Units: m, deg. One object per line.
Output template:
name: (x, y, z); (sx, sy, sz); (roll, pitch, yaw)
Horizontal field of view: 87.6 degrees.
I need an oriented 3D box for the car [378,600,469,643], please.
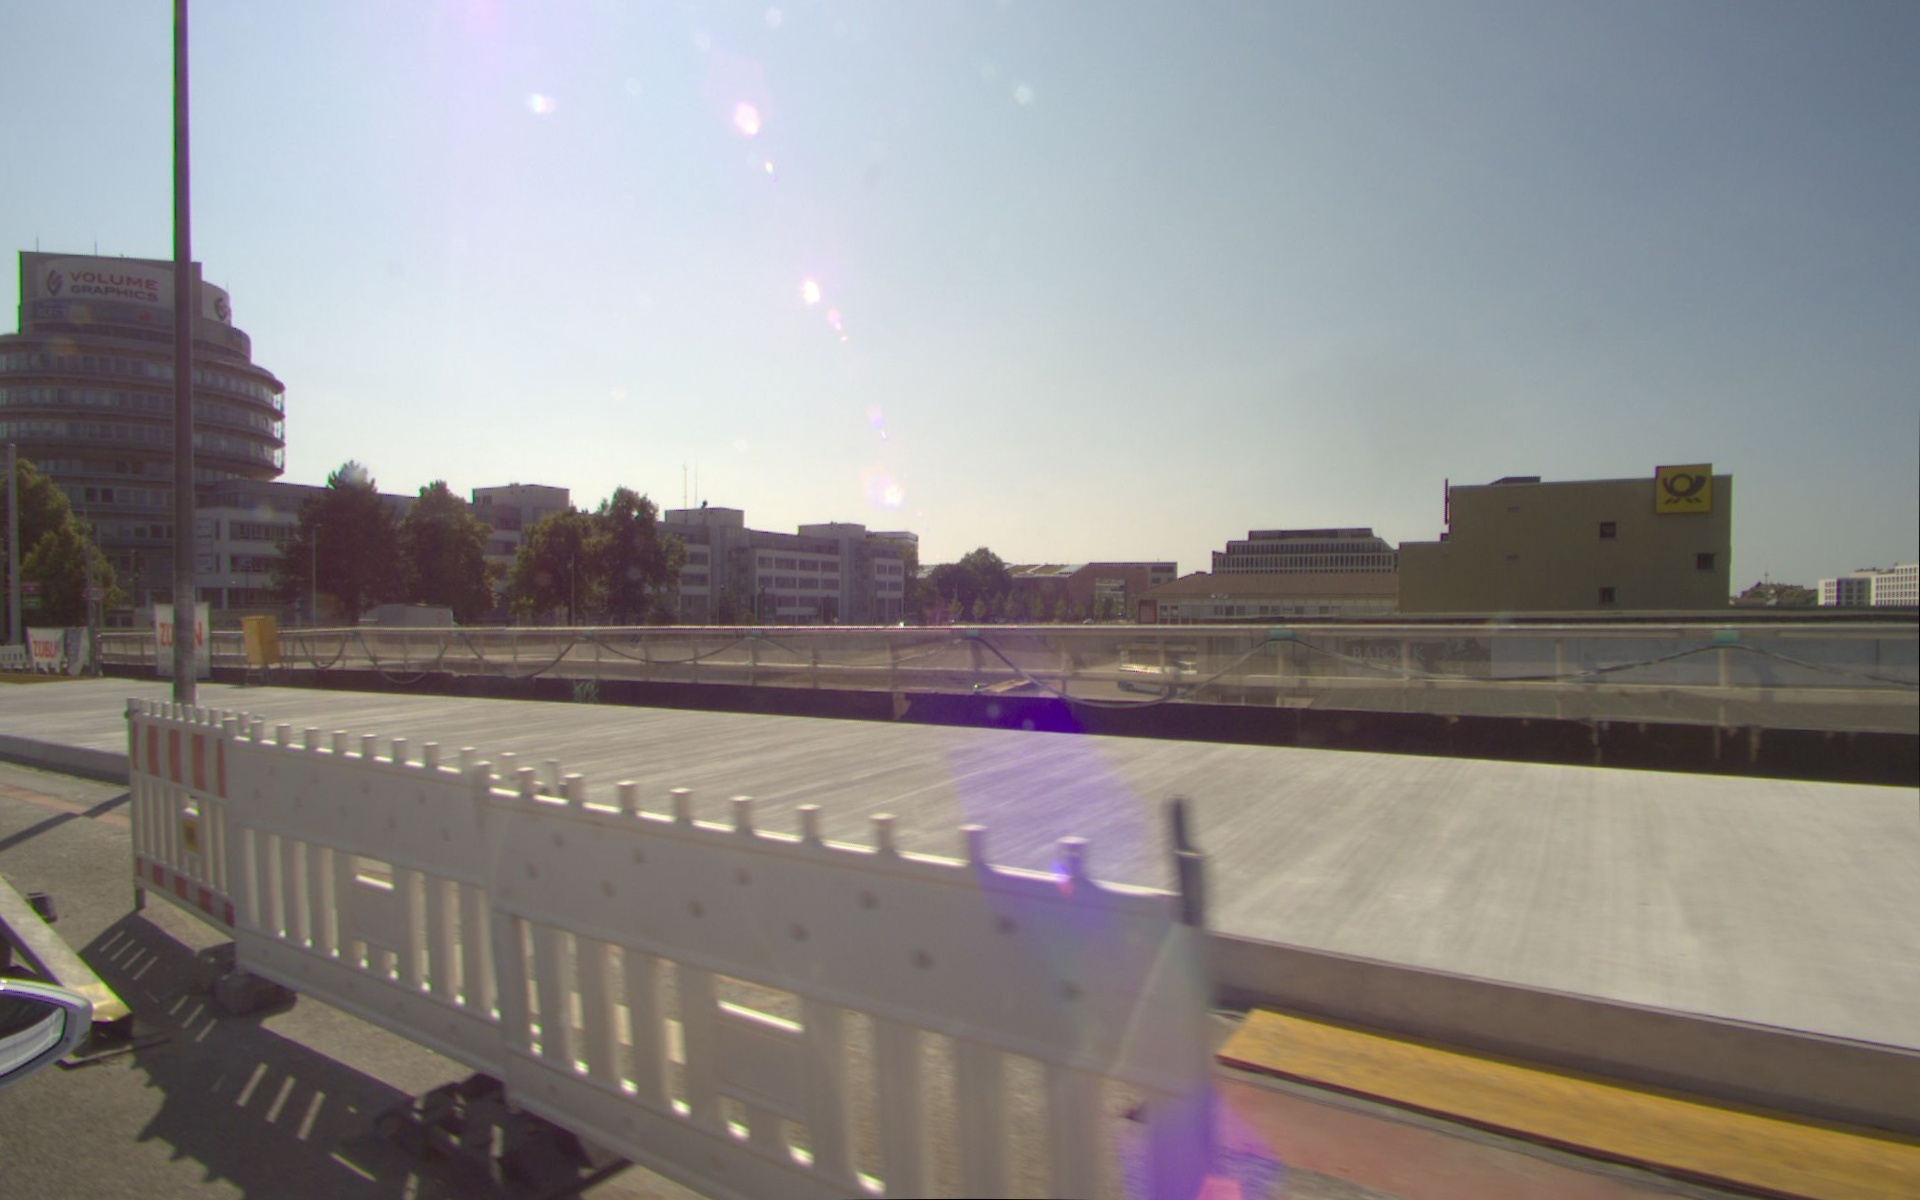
car: (-38.310, 1.572, 71.694); (2.303, 2.924, 5.967); (1, -1, 14)
